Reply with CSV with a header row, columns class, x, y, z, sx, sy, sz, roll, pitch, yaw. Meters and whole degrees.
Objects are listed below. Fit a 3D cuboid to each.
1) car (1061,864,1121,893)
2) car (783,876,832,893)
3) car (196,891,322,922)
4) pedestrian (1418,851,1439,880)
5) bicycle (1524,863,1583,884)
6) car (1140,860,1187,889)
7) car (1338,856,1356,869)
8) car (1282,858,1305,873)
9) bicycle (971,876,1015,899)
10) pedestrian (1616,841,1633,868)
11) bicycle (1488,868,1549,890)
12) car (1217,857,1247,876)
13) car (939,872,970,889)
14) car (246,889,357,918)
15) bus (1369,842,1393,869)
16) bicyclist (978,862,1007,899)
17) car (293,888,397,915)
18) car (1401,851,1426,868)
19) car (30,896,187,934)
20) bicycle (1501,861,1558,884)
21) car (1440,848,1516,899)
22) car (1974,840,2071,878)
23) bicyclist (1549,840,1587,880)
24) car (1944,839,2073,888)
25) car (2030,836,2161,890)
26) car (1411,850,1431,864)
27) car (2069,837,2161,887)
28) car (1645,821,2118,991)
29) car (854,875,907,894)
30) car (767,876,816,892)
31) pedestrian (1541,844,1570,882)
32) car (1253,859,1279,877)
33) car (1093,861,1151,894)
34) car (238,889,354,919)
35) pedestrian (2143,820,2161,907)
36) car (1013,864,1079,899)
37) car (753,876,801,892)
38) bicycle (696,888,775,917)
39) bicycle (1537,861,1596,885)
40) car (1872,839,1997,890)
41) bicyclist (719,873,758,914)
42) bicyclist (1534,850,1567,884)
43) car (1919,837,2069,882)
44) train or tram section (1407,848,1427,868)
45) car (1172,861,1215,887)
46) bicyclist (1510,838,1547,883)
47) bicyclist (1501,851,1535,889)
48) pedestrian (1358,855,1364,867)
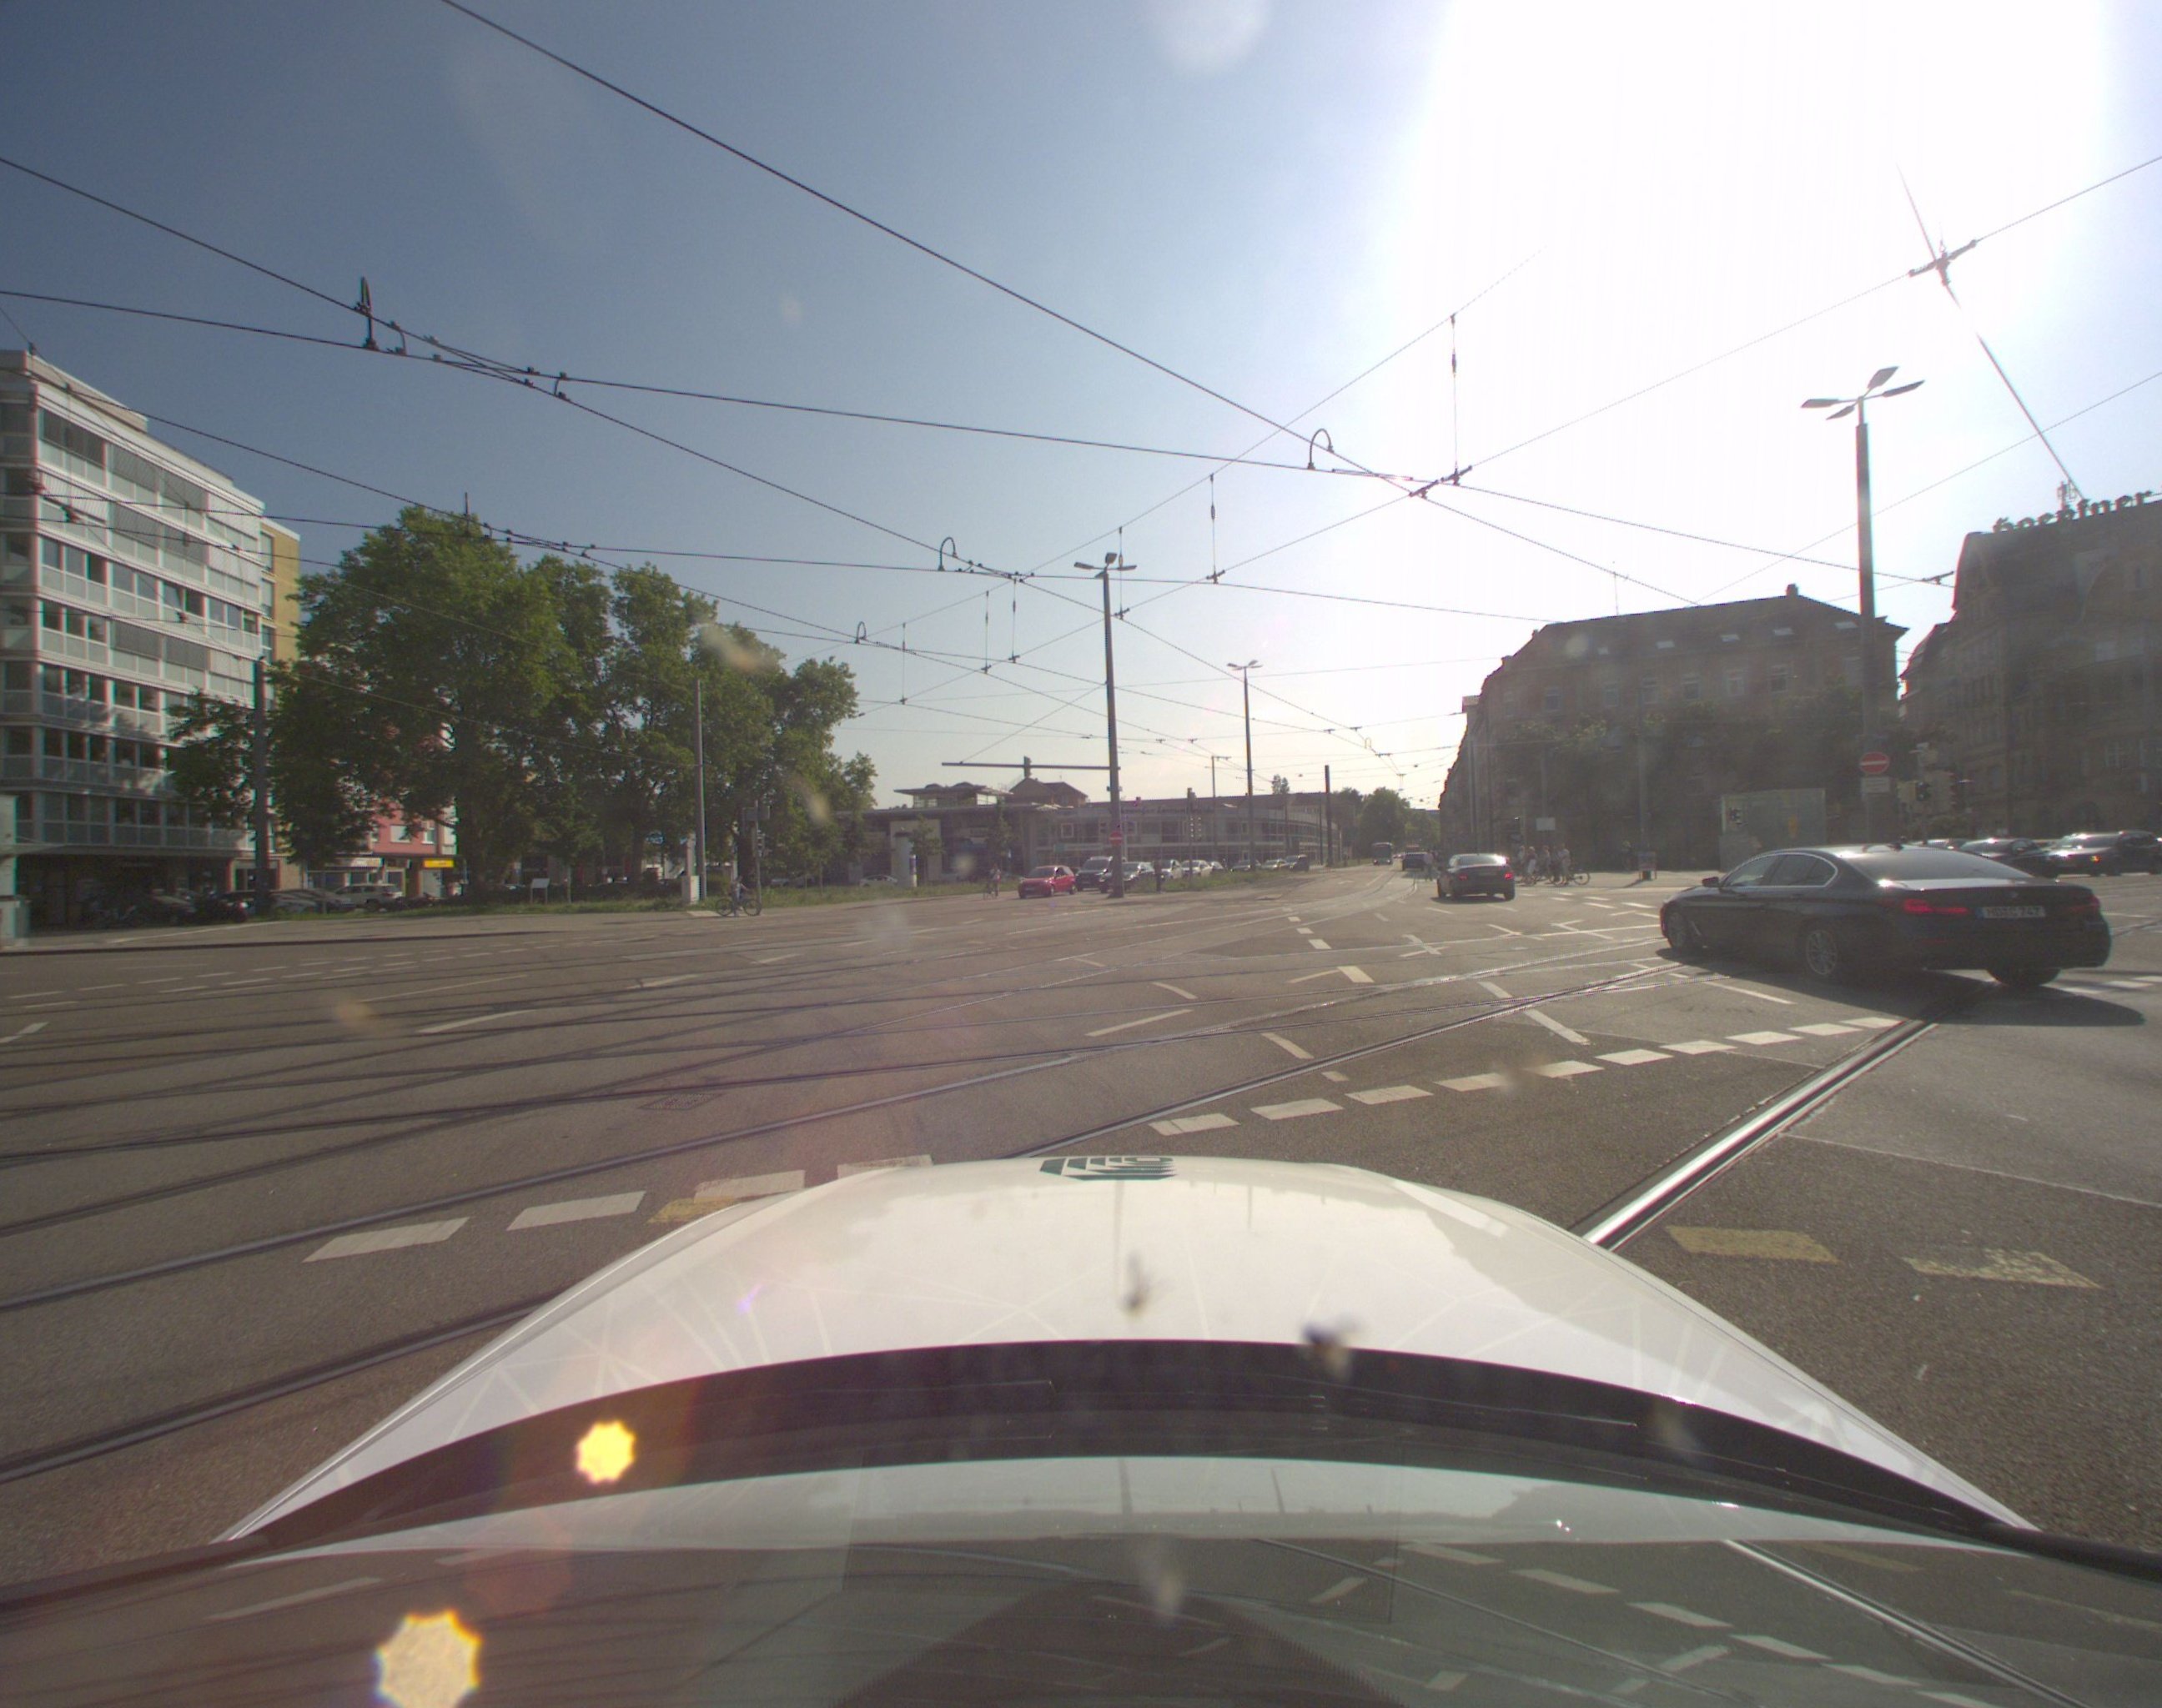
class,x,y,z,sx,sy,sz,roll,pitch,yaw
car,0.632,1.356,45.982,1.943,1.476,4.021,-4,-2,22
car,-27.579,3.043,82.184,1.683,1.522,4.543,-2,-1,38
car,-40.703,2.577,40.413,4.159,1.354,1.571,-1,-1,-12
pedestrian,18.952,0.626,44.460,0.776,1.503,0.709,-2,-1,-5
bicycle,23.908,1.001,41.195,2.625,0.964,1.087,-2,-1,-18
car,4.819,1.166,47.066,1.600,1.476,4.021,-4,-2,22
car,33.205,1.032,101.598,1.600,1.476,4.022,-4,-2,23
car,21.592,1.152,82.579,1.600,1.476,4.022,-4,-2,23
bicycle,-4.284,1.629,39.876,0.949,1.057,2.622,-2,-1,23
pedestrian,29.984,0.019,44.894,0.671,1.471,0.540,-1,-1,-38
bicycle,21.433,1.209,39.891,2.625,0.964,1.087,-2,-1,-18
car,13.069,1.072,70.335,1.600,1.476,4.022,-4,-2,23
car,-12.393,2.613,79.904,1.688,1.522,4.112,-2,-1,11
car,-42.875,2.700,44.860,4.159,1.354,1.571,-1,-1,-12
bus,44.235,0.270,120.294,2.896,3.619,16.826,-2,-1,19
bicyclist,-4.316,1.288,39.820,0.949,1.749,1.172,-2,-1,23
car,-42.412,2.720,47.007,4.159,1.354,1.571,-1,-1,-12
car,28.945,0.451,70.800,1.809,1.428,4.437,-2,-1,24
car,-40.646,2.547,34.136,4.159,1.354,1.475,-1,-1,-12
bicycle,20.754,0.829,37.678,2.635,0.964,1.082,-1,-1,-31
car,12.469,0.593,25.815,1.668,1.443,4.394,-2,-1,20
car,48.304,0.255,41.794,4.275,1.859,1.918,-1,-1,-21
bicyclist,21.468,0.274,35.918,0.940,1.708,1.082,-1,-1,-30
car,38.709,0.388,33.997,4.708,1.859,1.898,-1,-1,-19
car,37.177,0.314,29.801,4.070,1.859,1.897,-1,-1,-21
car,36.707,0.268,87.916,1.810,1.428,4.435,-2,-1,21
car,41.353,0.286,31.922,4.184,1.859,2.120,-1,-1,-21
car,8.754,0.477,9.637,1.672,1.492,4.687,-1,0,11
car,-17.248,2.604,70.259,4.059,1.522,1.710,-2,-1,11
car,-29.507,3.063,83.147,1.683,1.522,4.543,-2,-1,38
pedestrian,22.552,0.422,38.713,0.932,1.797,0.851,-1,-1,-34
car,17.531,1.302,76.968,1.600,1.476,4.022,-4,-2,23
car,2.099,1.148,41.034,1.600,1.476,4.021,-4,-2,22
car,-41.394,2.636,43.033,4.159,1.354,1.571,-1,-1,-12
pedestrian,21.521,0.169,15.826,0.911,1.690,0.842,-2,-2,44
car,-1.622,1.298,39.192,1.600,1.476,4.021,-4,-2,22
car,-31.935,3.182,85.657,1.683,1.522,4.543,-2,-1,38
bicycle,-13.323,1.867,31.464,2.597,1.057,0.958,1,-2,-7
bicycle,21.398,0.812,35.861,2.635,0.964,1.082,-1,-1,-31
car,33.652,0.396,32.127,4.252,1.859,1.896,-1,-1,-21
bicyclist,-13.234,1.523,31.486,1.161,1.527,0.958,0,-1,-7
bicyclist,23.713,0.639,41.135,0.936,1.680,1.087,-1,-1,-17
car,31.347,0.182,27.971,4.390,1.397,2.009,-1,-1,-21
train or tram section,65.003,0.812,157.719,2.634,3.699,10.636,-2,-1,17
car,7.234,1.246,52.028,1.600,1.476,4.022,-4,-2,23
bicyclist,20.698,0.309,37.667,0.940,2.024,1.082,-1,-1,-30
bicyclist,21.406,0.788,39.890,0.936,1.800,1.087,-1,-1,-17
pedestrian,37.838,0.960,110.045,0.590,1.630,0.641,-2,-1,24
